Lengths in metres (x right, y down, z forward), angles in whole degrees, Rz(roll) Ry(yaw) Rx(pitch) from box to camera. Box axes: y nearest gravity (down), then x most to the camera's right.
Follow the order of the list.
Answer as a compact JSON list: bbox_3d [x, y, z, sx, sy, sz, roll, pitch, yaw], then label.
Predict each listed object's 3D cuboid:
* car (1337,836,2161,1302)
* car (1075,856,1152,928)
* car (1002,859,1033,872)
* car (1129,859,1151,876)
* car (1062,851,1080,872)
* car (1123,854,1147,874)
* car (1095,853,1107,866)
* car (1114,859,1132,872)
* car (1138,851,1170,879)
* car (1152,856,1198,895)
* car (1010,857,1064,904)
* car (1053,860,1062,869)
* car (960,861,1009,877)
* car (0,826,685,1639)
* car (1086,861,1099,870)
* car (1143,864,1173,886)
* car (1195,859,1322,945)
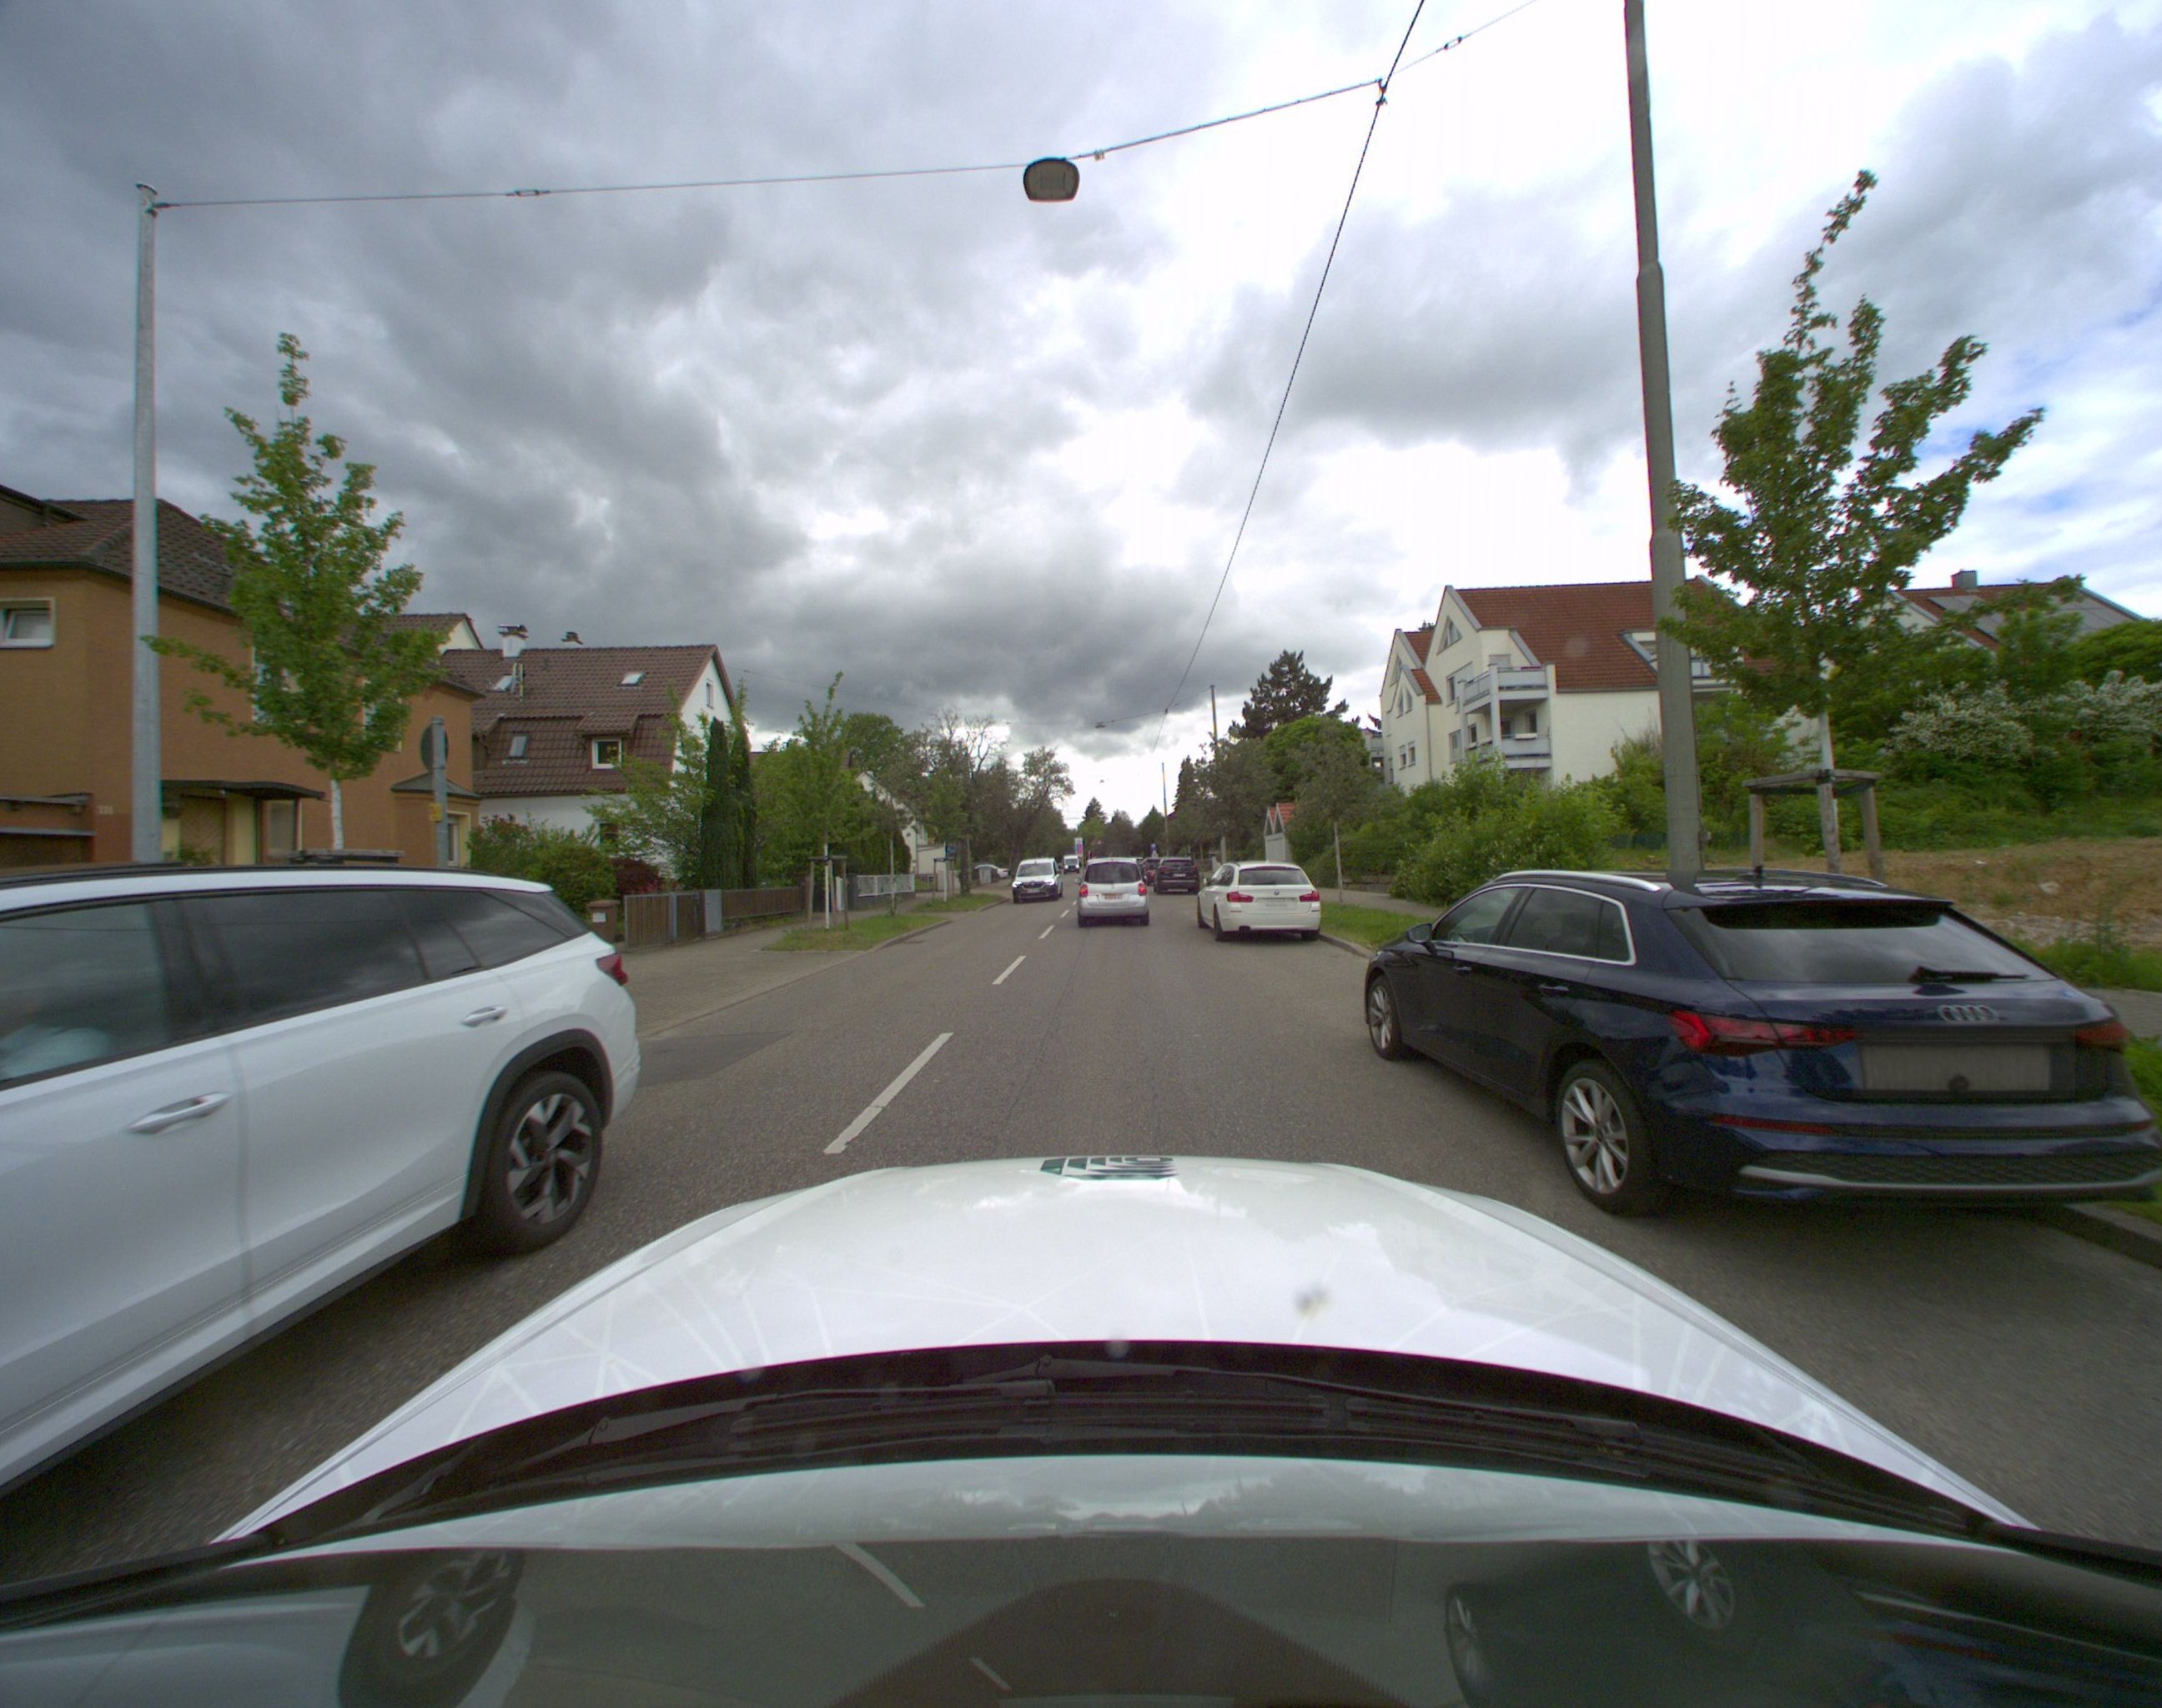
[{"bbox_3d":[3.015,0.723,4.825,1.660,1.516,4.220,-1,0,0],"label":"car"},{"bbox_3d":[0.811,0.862,19.918,1.672,1.560,3.514,-1,-1,3],"label":"car"},{"bbox_3d":[-8.547,1.558,109.423,4.077,1.706,1.745,0,-1,-3],"label":"car"},{"bbox_3d":[5.289,1.187,73.258,1.554,1.443,3.503,-1,-1,-2],"label":"car"},{"bbox_3d":[-1.282,1.010,107.888,2.066,2.582,5.300,-4,-1,1],"label":"car"},{"bbox_3d":[5.123,0.939,77.794,1.794,1.778,4.701,-1,-1,-2],"label":"car"},{"bbox_3d":[4.467,1.281,185.544,2.277,2.911,5.271,-1,-1,-4],"label":"car"},{"bbox_3d":[4.838,1.294,93.472,1.623,1.452,3.871,-3,0,-3],"label":"car"},{"bbox_3d":[4.848,0.739,54.721,1.823,1.712,4.551,-3,-1,2],"label":"car"},{"bbox_3d":[4.105,0.908,36.182,1.681,1.609,4.111,-1,-1,2],"label":"car"},{"bbox_3d":[-1.788,1.056,34.394,1.788,1.752,4.301,-3,0,2],"label":"car"},{"bbox_3d":[-4.964,2.248,171.497,1.831,1.714,3.996,-4,0,-3],"label":"car"},{"bbox_3d":[-8.470,1.341,71.774,4.272,1.368,1.813,0,-1,-5],"label":"car"},{"bbox_3d":[-3.185,0.848,2.269,1.807,1.693,4.466,-4,-1,1],"label":"car"},{"bbox_3d":[1.925,1.987,139.801,1.693,1.506,3.963,-2,-1,-7],"label":"car"},{"bbox_3d":[4.473,1.186,47.680,1.476,1.236,3.885,0,-1,2],"label":"car"},{"bbox_3d":[3.350,0.845,16.176,1.687,1.453,4.406,-1,0,2],"label":"car"}]
